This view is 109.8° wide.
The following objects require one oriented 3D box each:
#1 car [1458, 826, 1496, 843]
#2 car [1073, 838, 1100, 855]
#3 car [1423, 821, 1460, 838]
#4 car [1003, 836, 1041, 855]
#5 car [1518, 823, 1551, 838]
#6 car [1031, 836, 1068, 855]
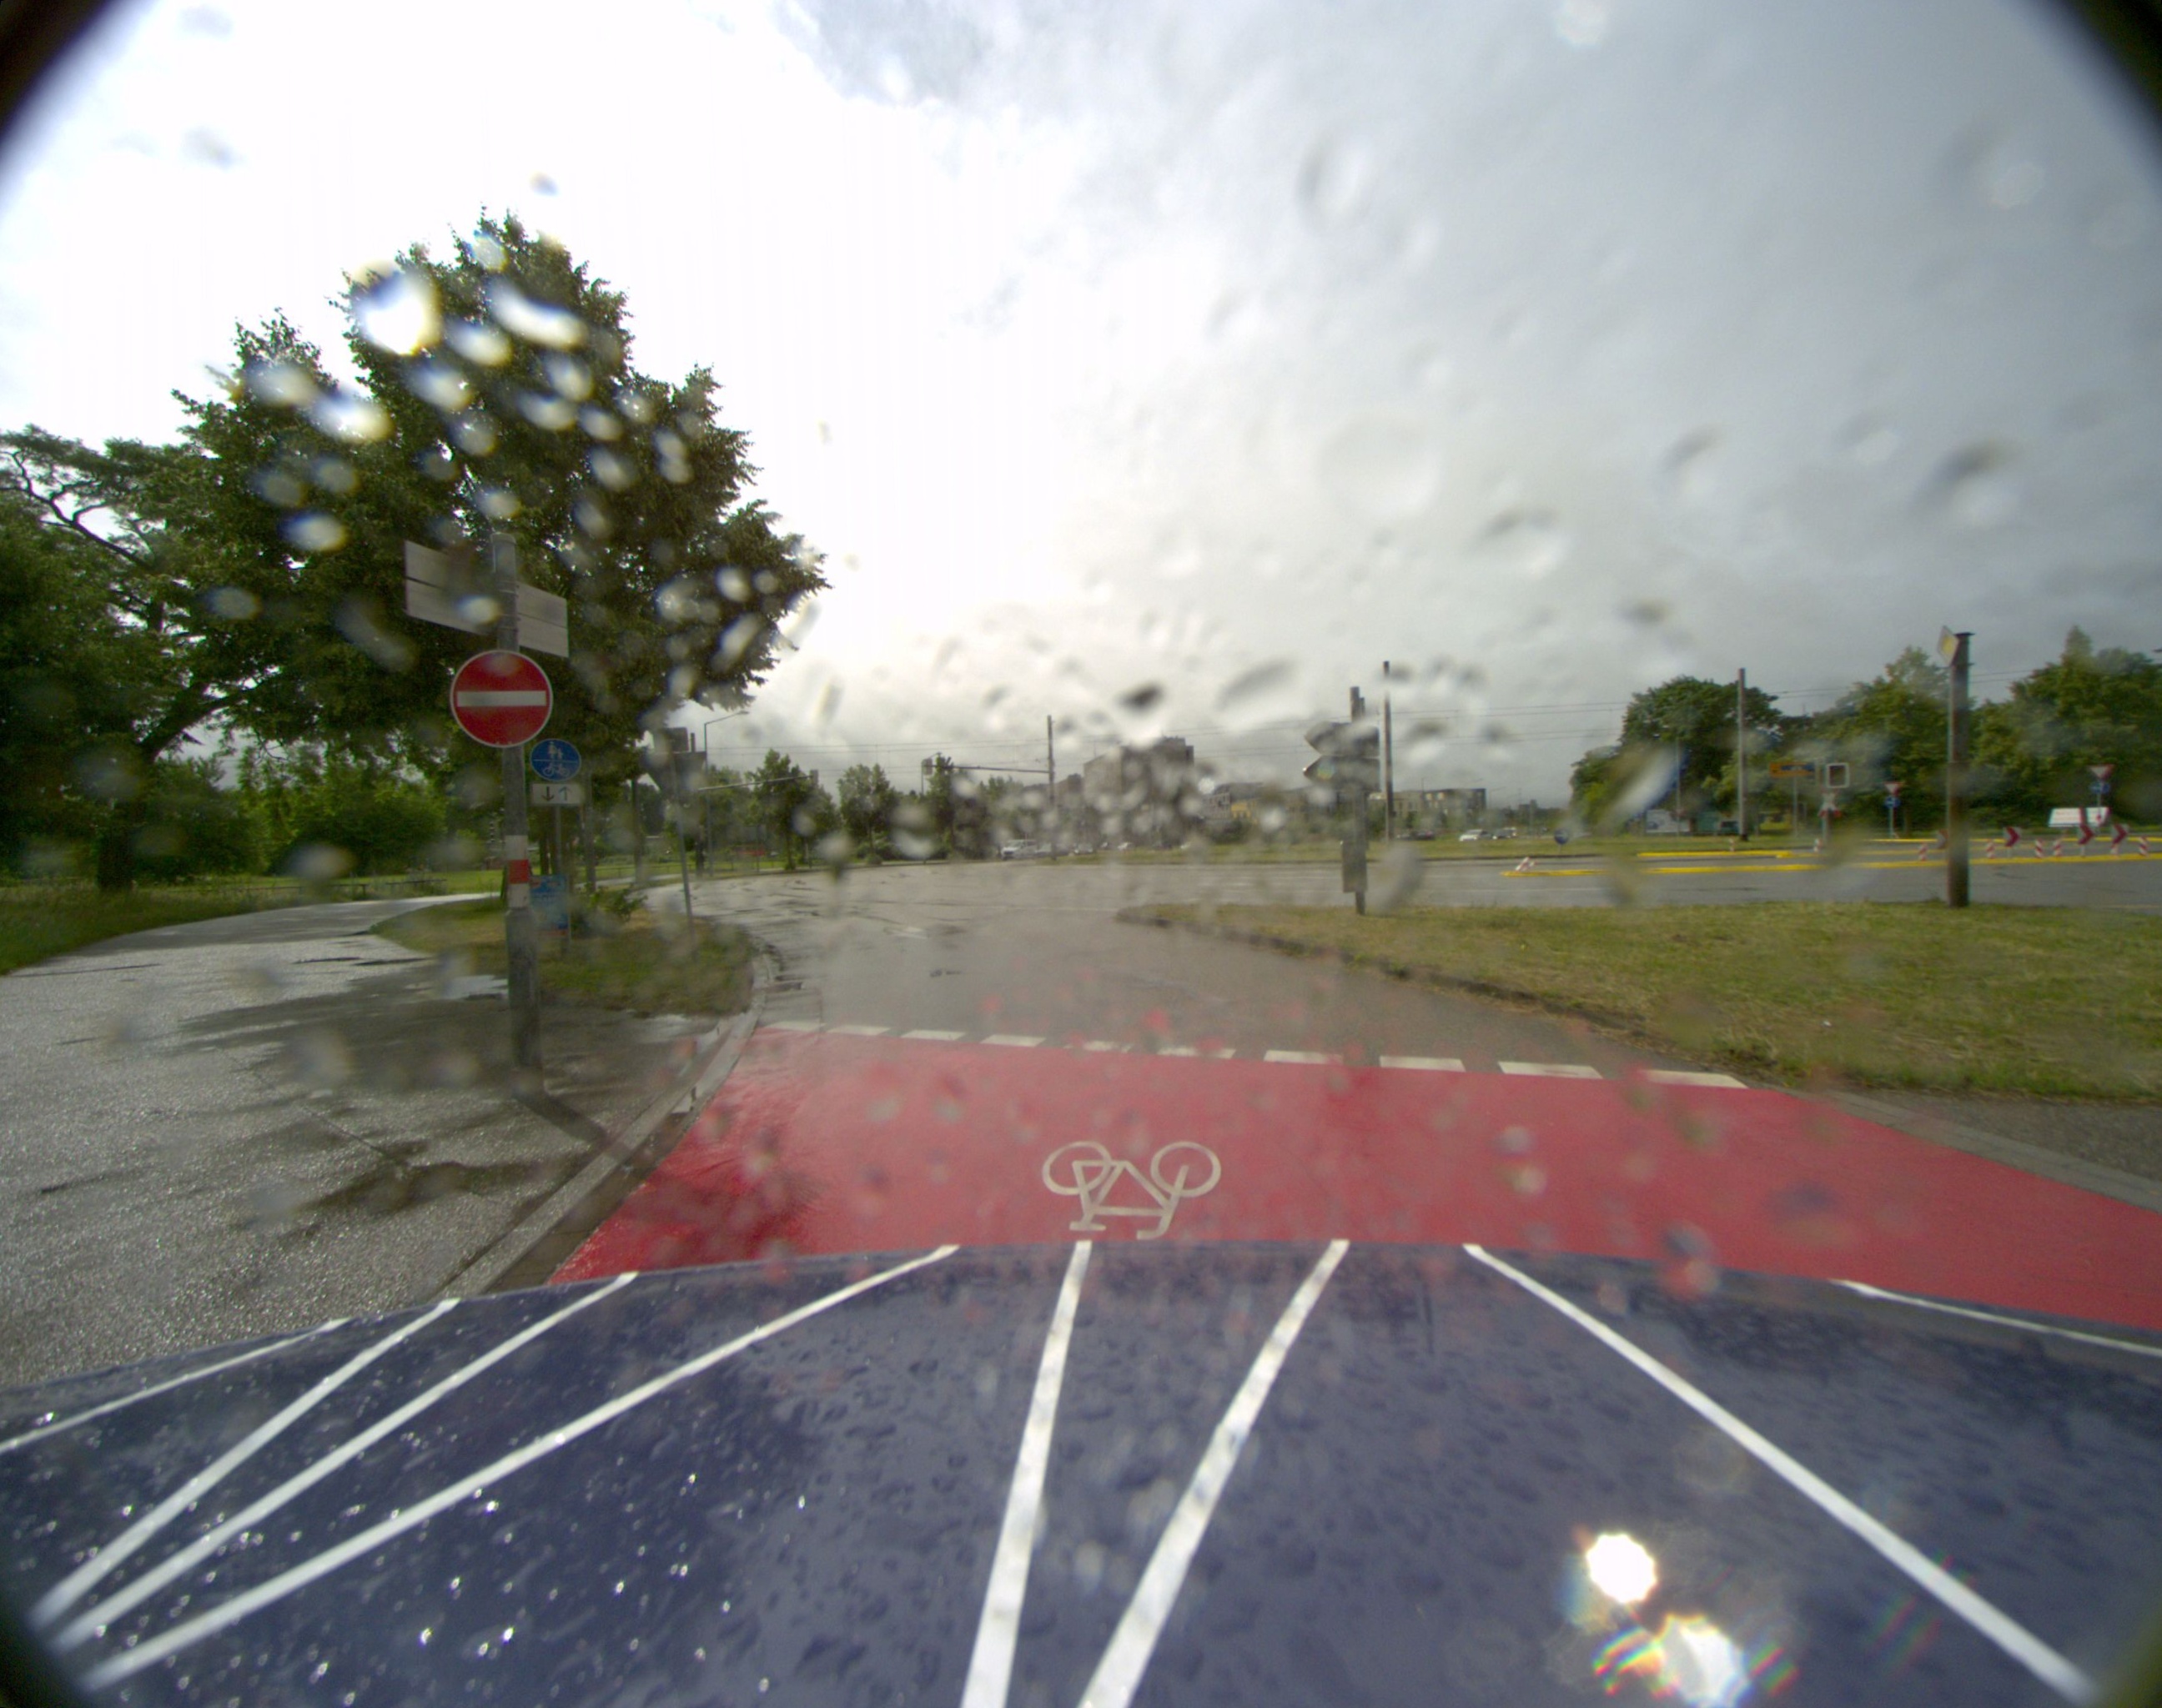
[{"bbox_3d":[40.001,-1.987,76.712,4.125,1.521,1.665,-3,1,-34],"label":"car"},{"bbox_3d":[0.597,-0.818,79.699,1.767,1.587,4.004,-2,2,17],"label":"car"},{"bbox_3d":[35.558,-2.421,74.919,3.486,1.521,1.665,-3,1,-34],"label":"car"},{"bbox_3d":[-5.627,-0.861,73.459,1.888,1.704,4.235,-1,2,23],"label":"car"},{"bbox_3d":[49.463,-2.586,82.860,3.486,1.521,1.665,-3,1,-34],"label":"car"},{"bbox_3d":[-2.823,-0.799,68.915,1.665,1.679,4.211,-2,1,22],"label":"car"}]
